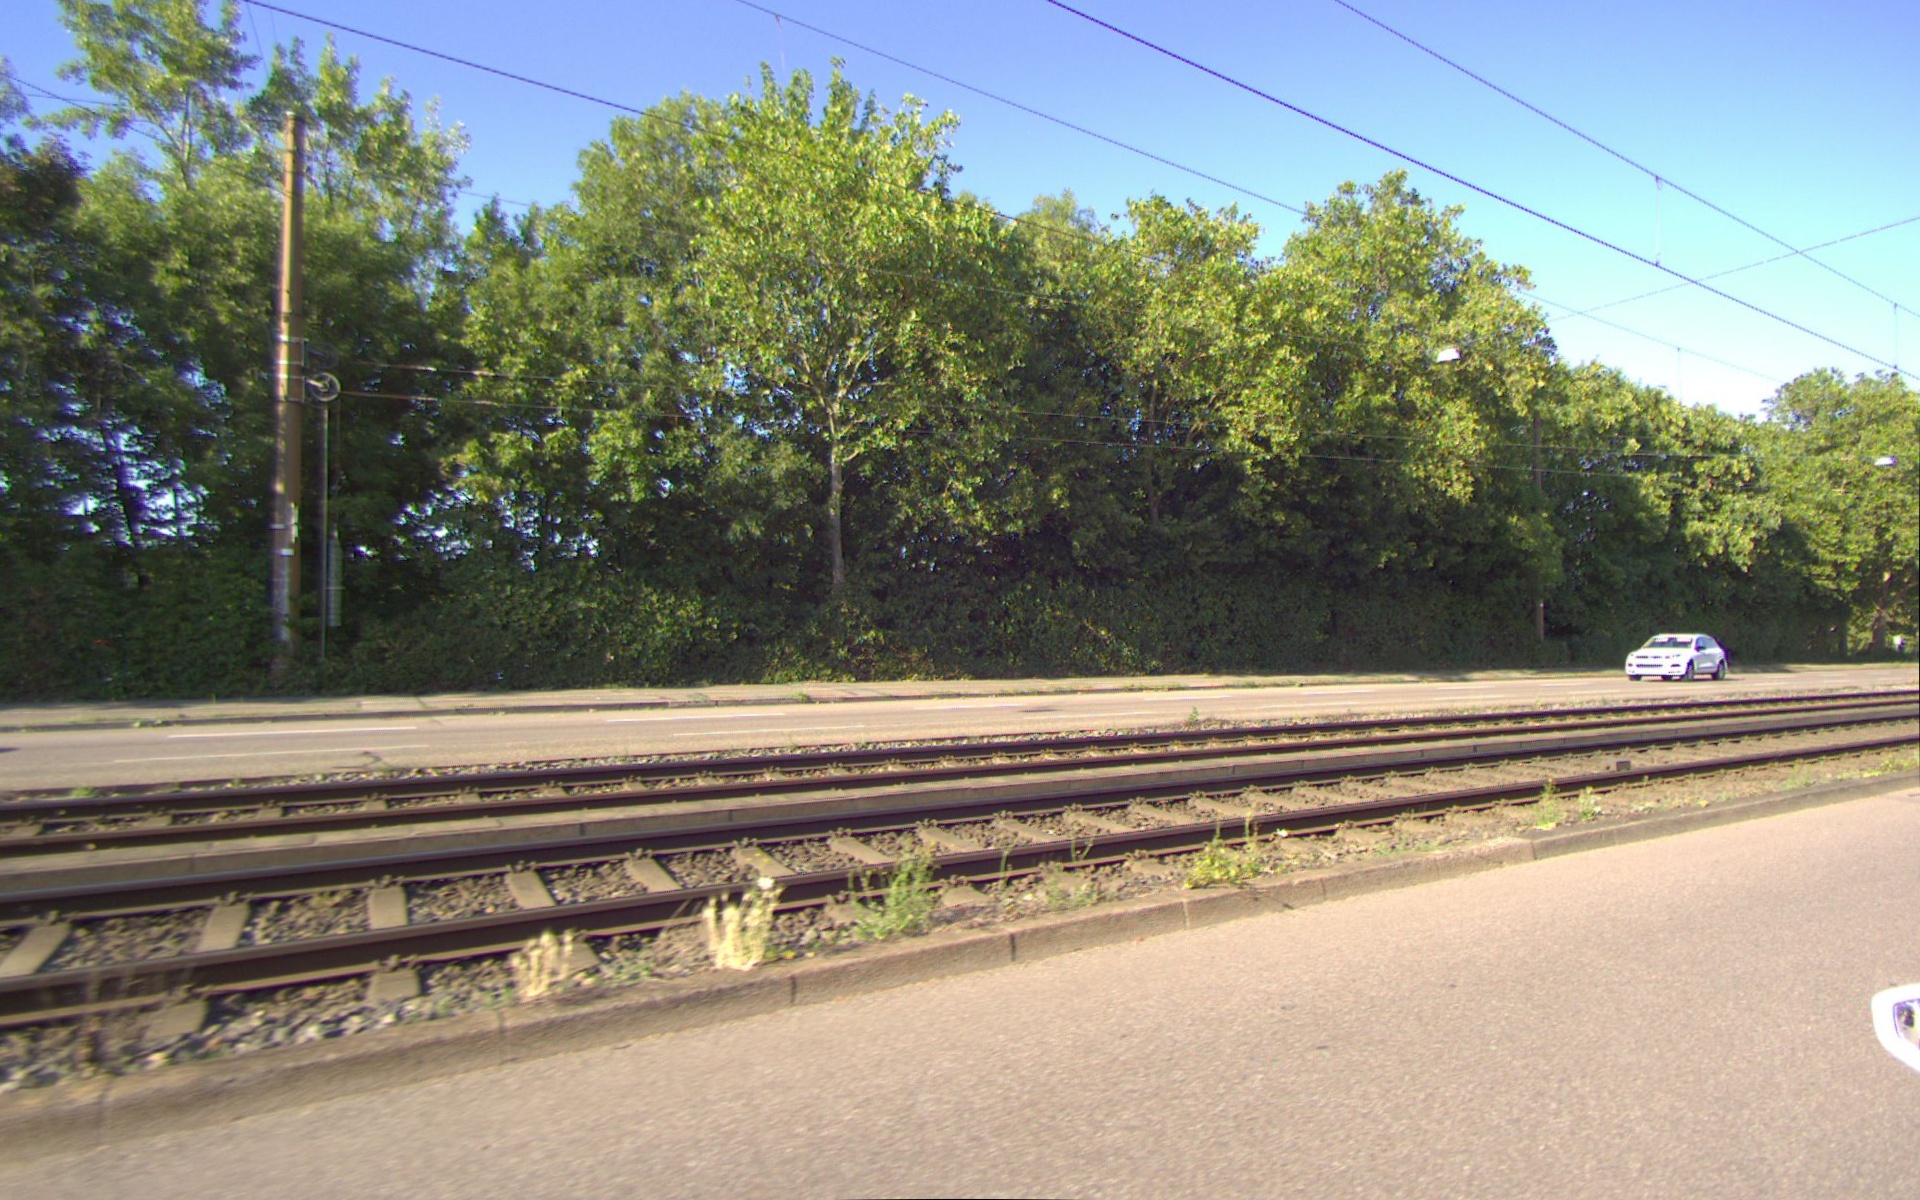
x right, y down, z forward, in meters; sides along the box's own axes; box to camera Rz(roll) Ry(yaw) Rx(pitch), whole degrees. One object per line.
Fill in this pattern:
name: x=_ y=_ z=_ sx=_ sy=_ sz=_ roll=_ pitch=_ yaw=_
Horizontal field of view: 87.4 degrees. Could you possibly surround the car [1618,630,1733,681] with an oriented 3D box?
car: x=26.476 y=2.055 z=37.124 sx=4.881 sy=1.756 sz=1.835 roll=2 pitch=-4 yaw=-34
